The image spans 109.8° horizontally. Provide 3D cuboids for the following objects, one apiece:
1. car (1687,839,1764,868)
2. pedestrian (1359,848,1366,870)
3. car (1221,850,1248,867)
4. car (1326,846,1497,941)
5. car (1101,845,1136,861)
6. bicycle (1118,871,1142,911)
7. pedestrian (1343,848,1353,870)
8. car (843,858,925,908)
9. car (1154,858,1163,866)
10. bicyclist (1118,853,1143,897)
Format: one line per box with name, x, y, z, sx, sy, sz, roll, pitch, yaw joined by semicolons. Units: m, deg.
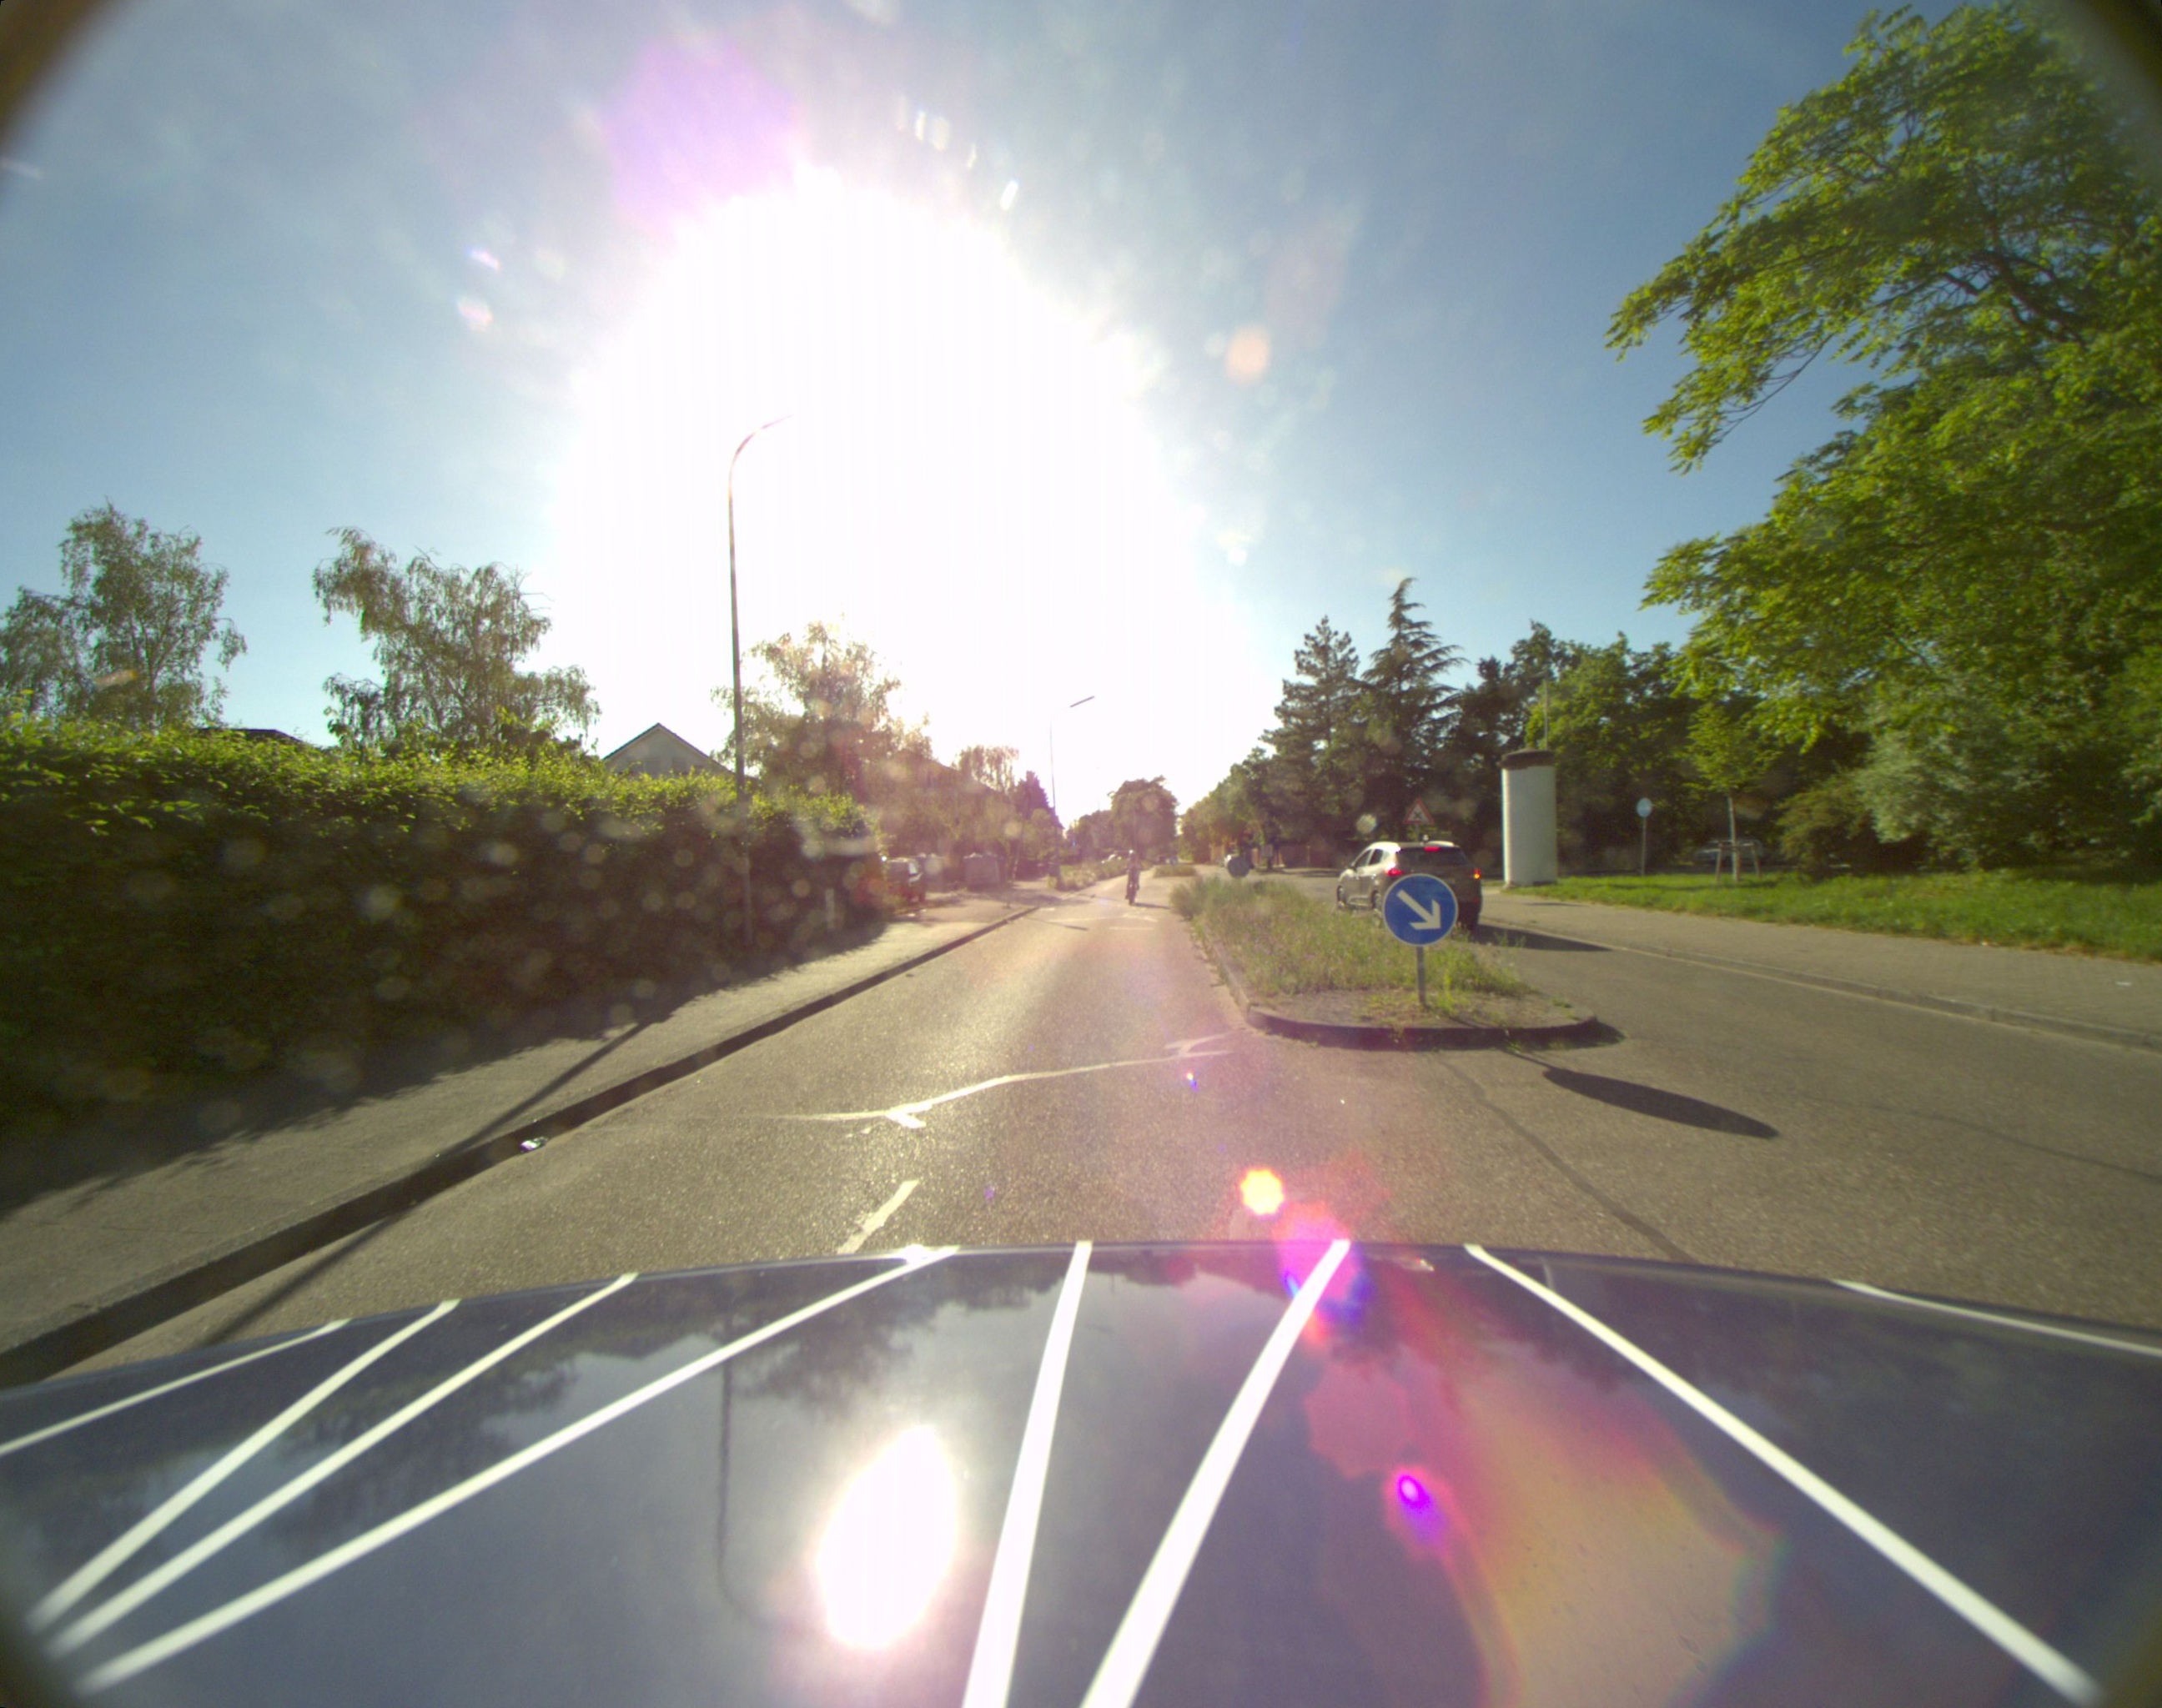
car;42.345;-0.047;49.948;4.638;1.738;1.753;-2;0;-20
pedestrian;20.174;0.336;54.429;0.395;1.552;0.539;-1;2;9
car;15.879;0.486;78.988;1.998;1.649;4.000;-2;0;0
car;6.588;0.702;15.691;1.917;1.695;4.186;-1;0;3
car;4.363;-0.089;87.694;3.656;1.707;1.744;-2;1;-30
bicycle;1.559;1.136;23.800;0.457;1.138;1.900;-1;0;12
pedestrian;19.266;0.364;54.778;0.539;1.512;0.395;-2;1;-18
car;-6.176;0.867;24.215;1.702;1.458;3.533;-1;0;-1
car;18.304;1.818;178.693;1.997;1.805;4.002;-1;0;6
bicyclist;1.569;0.653;24.015;0.637;1.339;0.839;-1;1;12
